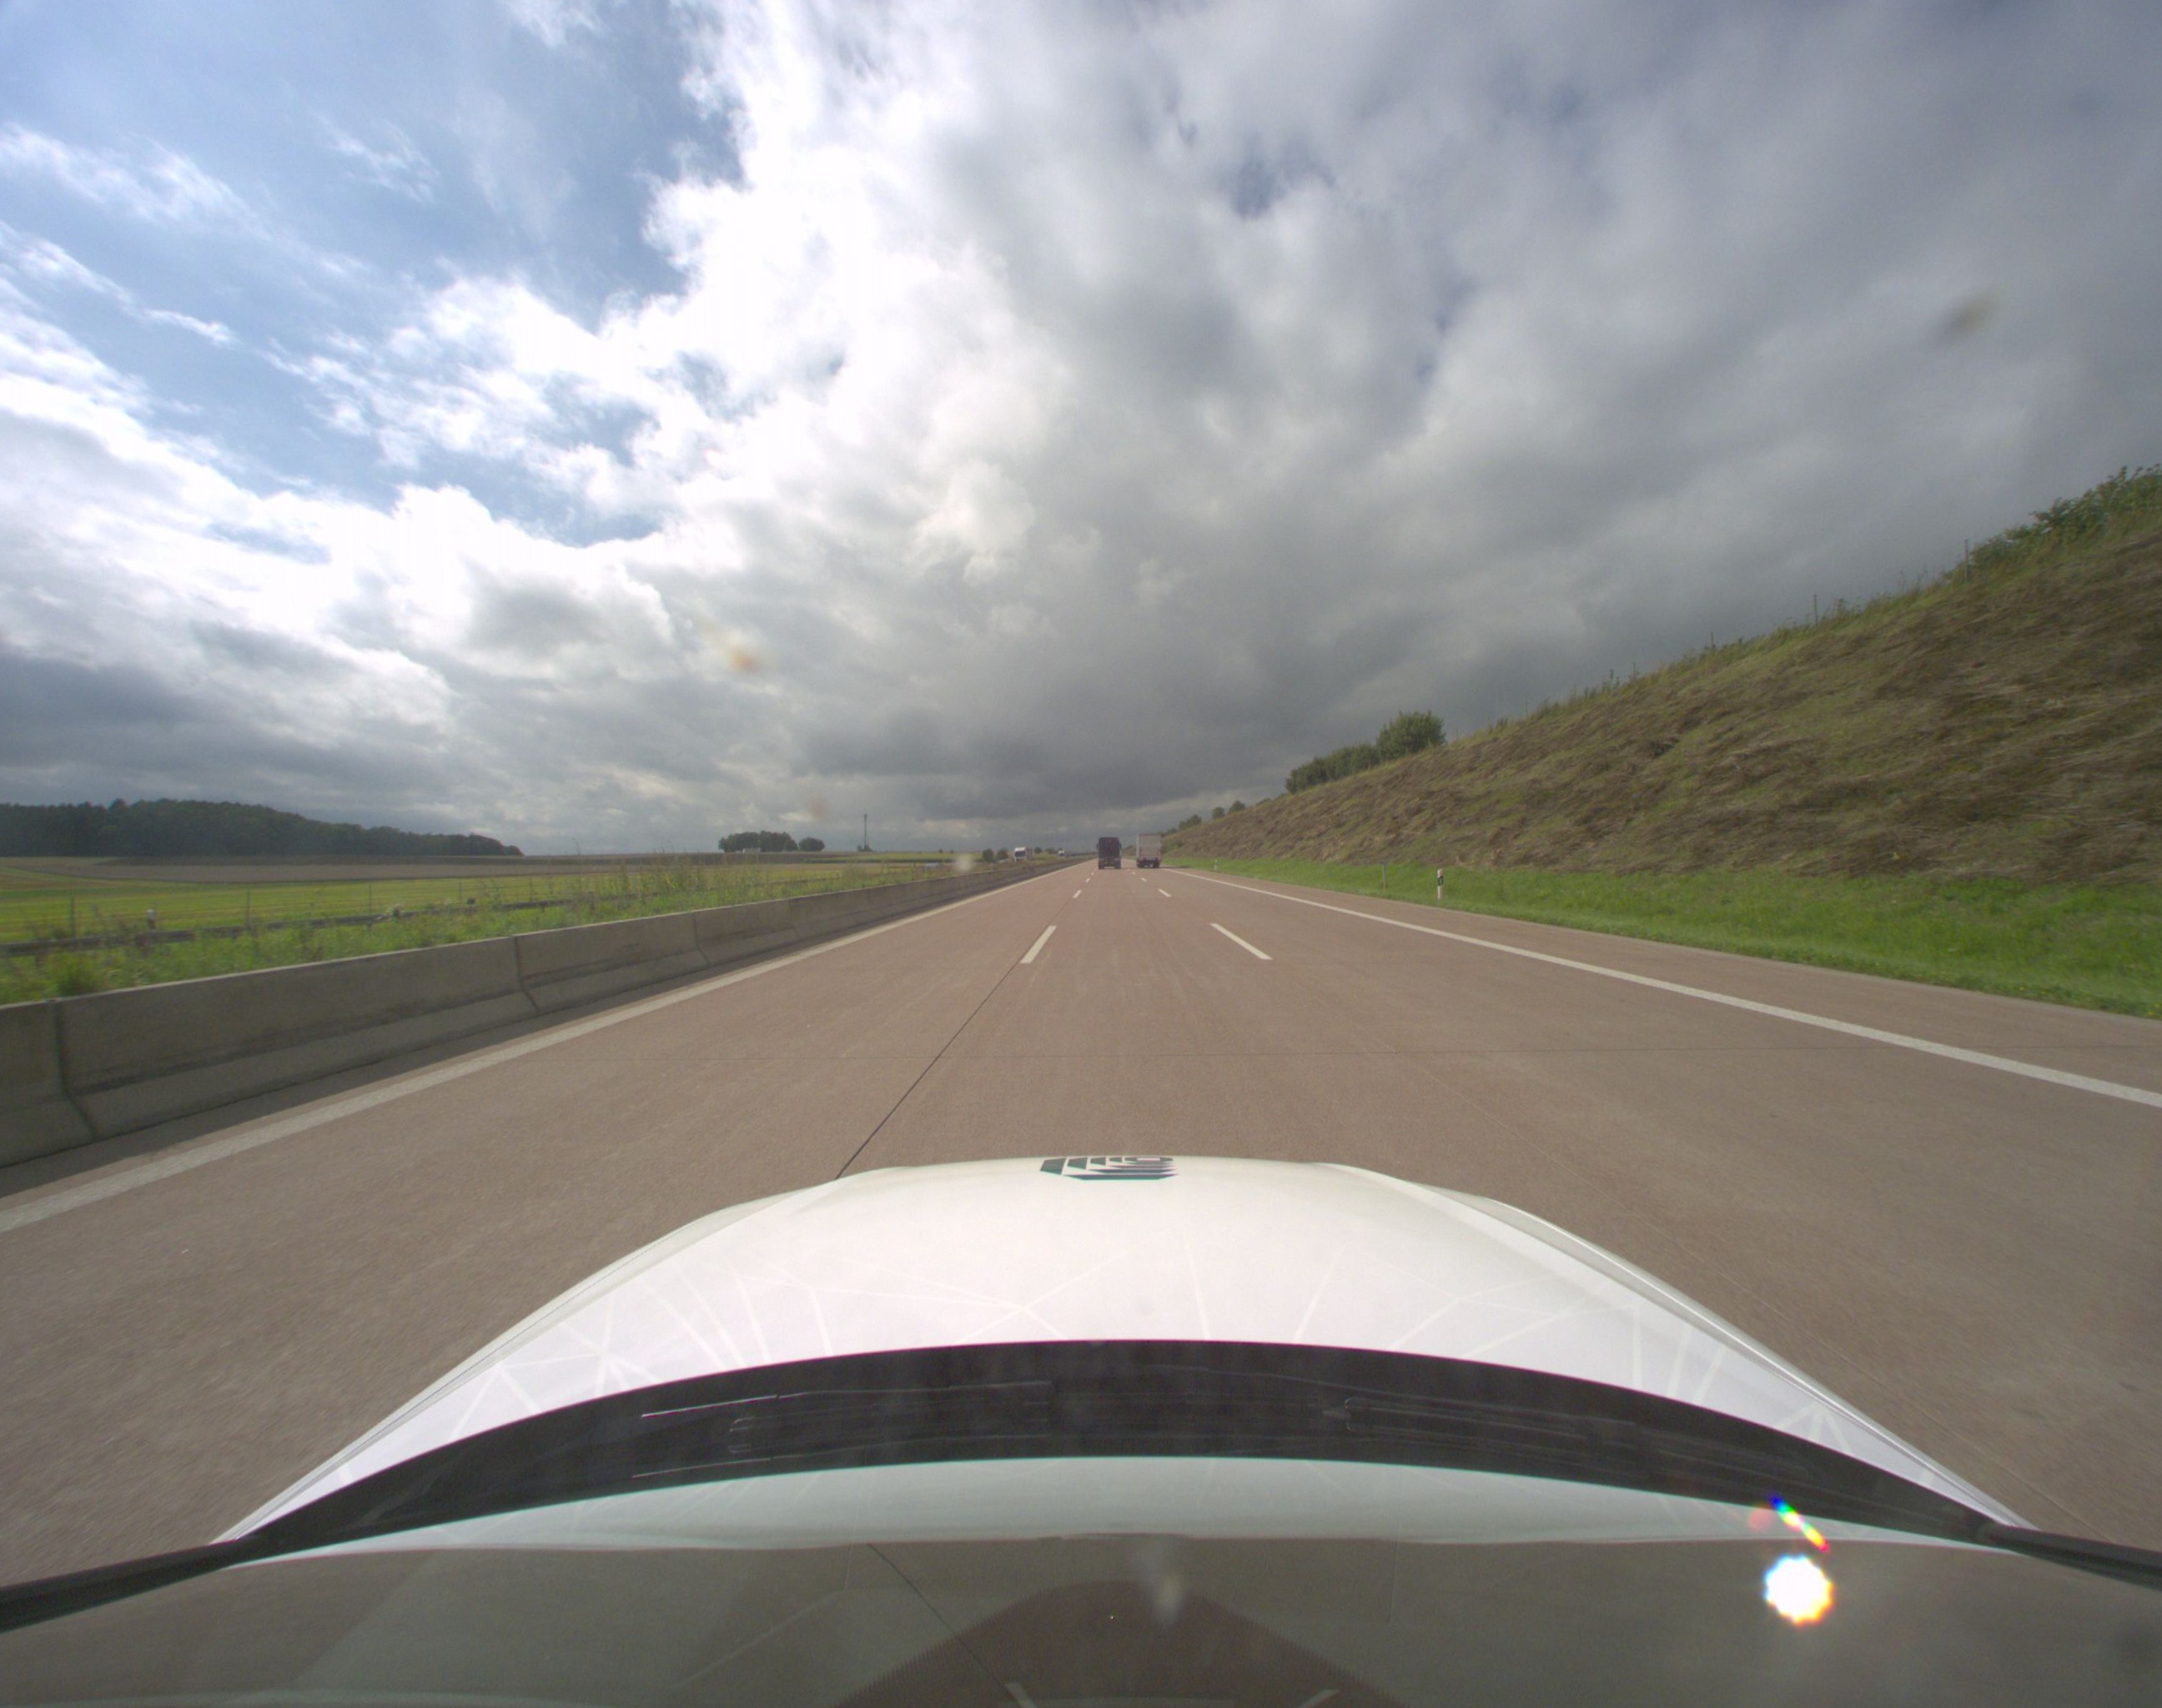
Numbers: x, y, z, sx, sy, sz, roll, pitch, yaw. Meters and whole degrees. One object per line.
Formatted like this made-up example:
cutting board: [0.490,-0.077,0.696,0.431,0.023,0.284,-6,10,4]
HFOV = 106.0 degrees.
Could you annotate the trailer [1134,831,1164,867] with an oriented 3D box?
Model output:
trailer: [7.946,-0.506,95.745,2.739,4.012,8.668,-1,-1,0]

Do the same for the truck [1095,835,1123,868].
truck: [3.130,-0.195,92.300,2.838,3.550,8.318,-1,-1,0]

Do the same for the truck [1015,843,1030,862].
truck: [-12.874,-0.317,179.375,2.760,3.959,5.291,-2,0,1]
